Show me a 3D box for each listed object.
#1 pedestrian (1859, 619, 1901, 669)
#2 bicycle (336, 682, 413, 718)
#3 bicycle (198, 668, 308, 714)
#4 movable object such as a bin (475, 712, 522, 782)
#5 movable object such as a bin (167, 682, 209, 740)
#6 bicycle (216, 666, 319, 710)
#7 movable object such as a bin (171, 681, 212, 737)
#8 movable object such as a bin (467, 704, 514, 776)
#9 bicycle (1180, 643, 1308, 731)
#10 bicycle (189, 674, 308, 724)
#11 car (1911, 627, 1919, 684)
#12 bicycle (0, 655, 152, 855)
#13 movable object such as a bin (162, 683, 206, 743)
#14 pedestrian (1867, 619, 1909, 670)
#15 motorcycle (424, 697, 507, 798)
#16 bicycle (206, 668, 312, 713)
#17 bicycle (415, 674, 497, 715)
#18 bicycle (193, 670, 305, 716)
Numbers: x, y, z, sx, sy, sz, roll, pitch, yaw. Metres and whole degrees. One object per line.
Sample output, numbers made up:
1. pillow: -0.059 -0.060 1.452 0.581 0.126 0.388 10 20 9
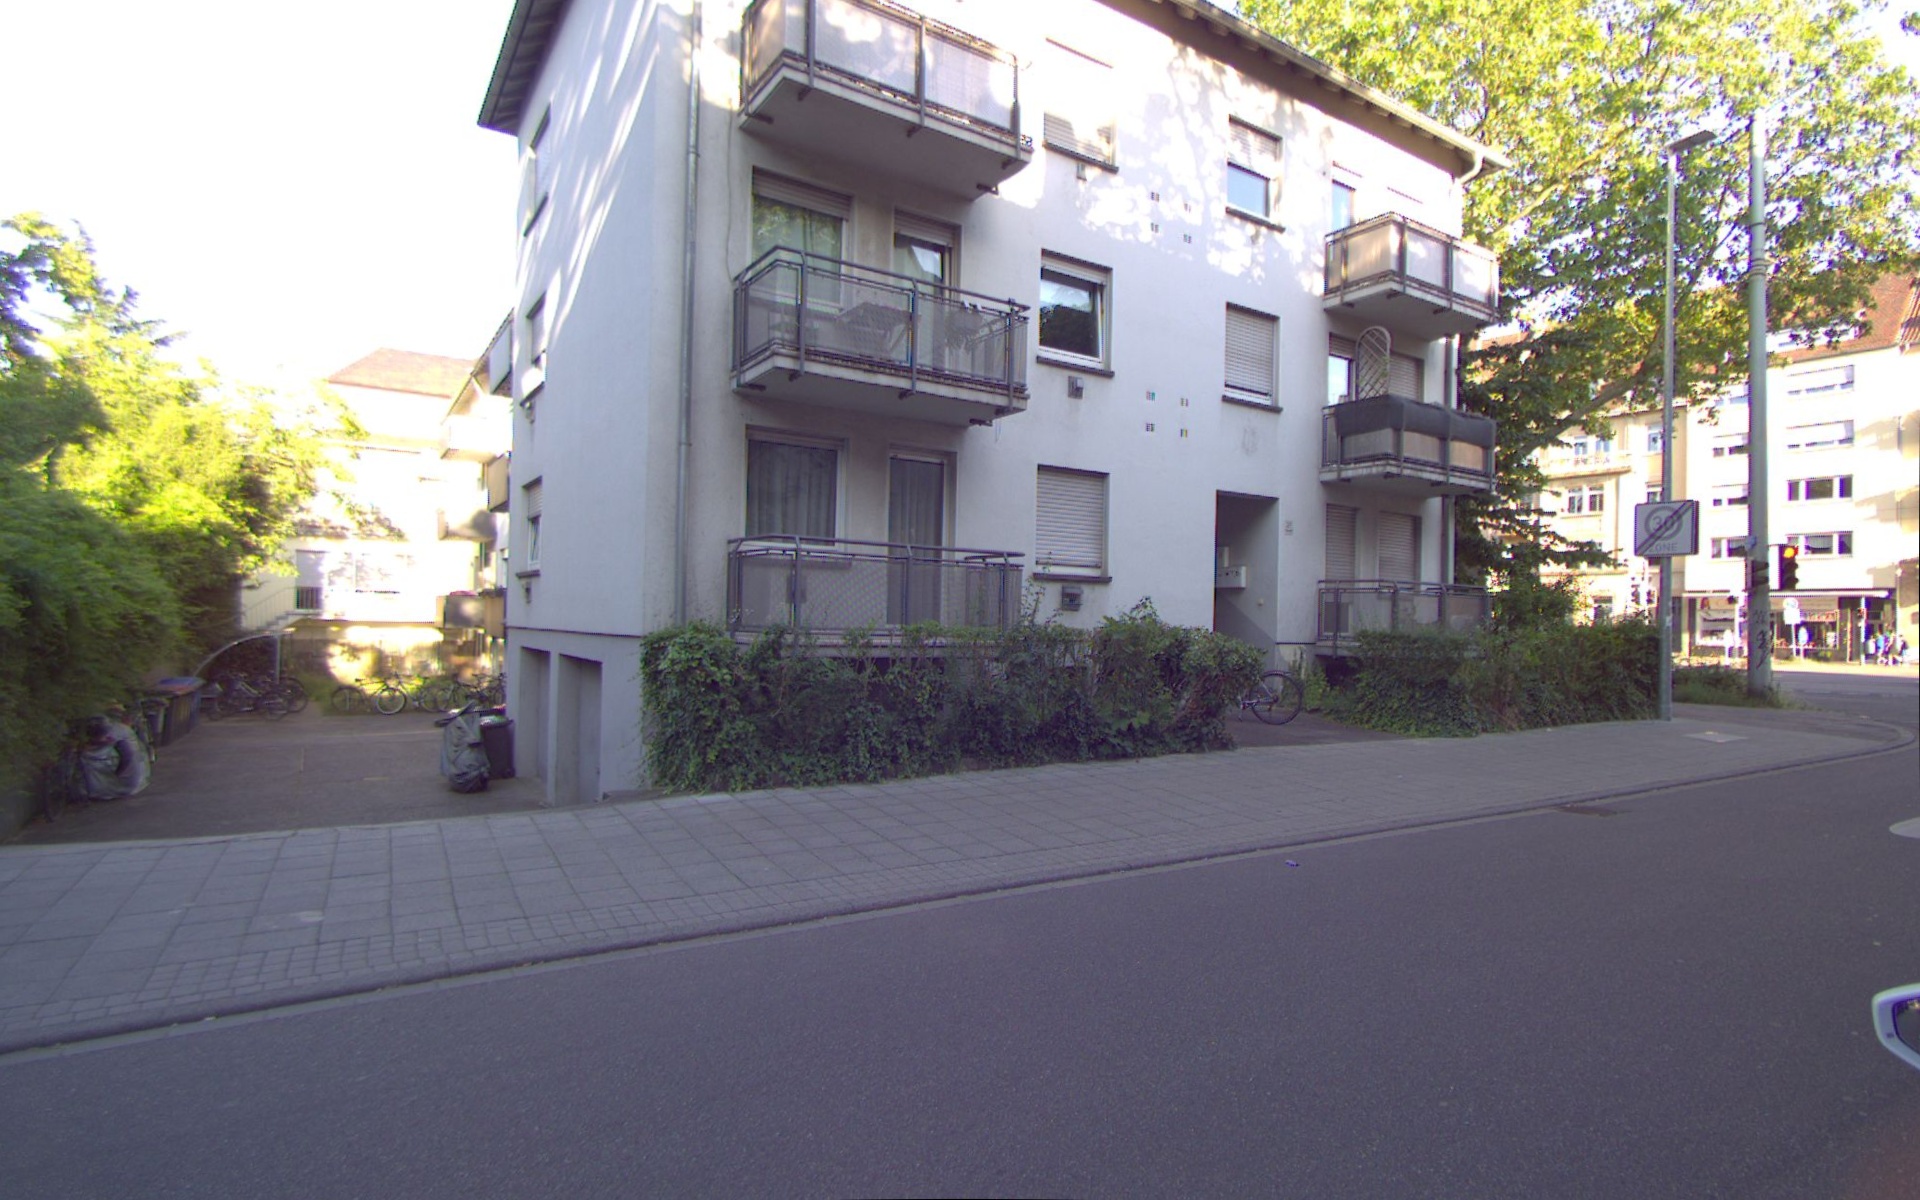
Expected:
1. pedestrian: 46.772 2.231 51.067 1.049 2.497 1.338 1 0 -34
2. bicycle: -15.561 2.645 26.750 1.734 0.890 0.561 2 -4 -30
3. bicycle: -19.021 2.432 27.093 2.311 1.192 0.689 2 -4 -30
4. movable object such as a bin: -7.397 2.338 16.094 0.606 1.051 0.534 1 -3 -34
5. movable object such as a bin: -15.926 2.275 20.729 0.606 1.129 0.795 1 -3 -33
6. bicycle: -19.638 2.474 28.546 2.311 1.192 0.689 2 -4 -30
7. movable object such as a bin: -16.358 2.306 21.391 0.606 1.129 0.795 1 -3 -33
8. movable object such as a bin: -7.913 2.340 16.906 0.606 1.129 0.795 1 -3 -33
9. bicycle: 3.832 1.155 13.574 1.590 1.022 0.517 3 1 20
10. bicycle: -17.331 2.402 24.531 2.268 1.148 0.689 2 -4 -30
11. car: 27.434 1.472 25.675 1.645 1.516 4.316 1 -1 -36
12. bicycle: -10.598 1.667 11.984 0.961 1.917 4.156 1 -2 -32
13. movable object such as a bin: -15.485 2.243 20.059 0.606 1.129 0.795 1 -3 -33
14. pedestrian: 46.184 2.202 49.990 1.049 2.497 1.338 1 0 -34
15. motorcycle: -7.401 2.163 15.012 0.739 1.313 1.563 2 -2 -41
16. bicycle: -19.348 2.488 27.784 2.311 1.192 0.689 2 -4 -30
17. bicycle: -13.907 2.593 27.750 1.982 1.085 0.561 2 -4 -30
18. bicycle: -18.595 2.414 26.347 2.311 1.148 0.689 2 -4 -30
